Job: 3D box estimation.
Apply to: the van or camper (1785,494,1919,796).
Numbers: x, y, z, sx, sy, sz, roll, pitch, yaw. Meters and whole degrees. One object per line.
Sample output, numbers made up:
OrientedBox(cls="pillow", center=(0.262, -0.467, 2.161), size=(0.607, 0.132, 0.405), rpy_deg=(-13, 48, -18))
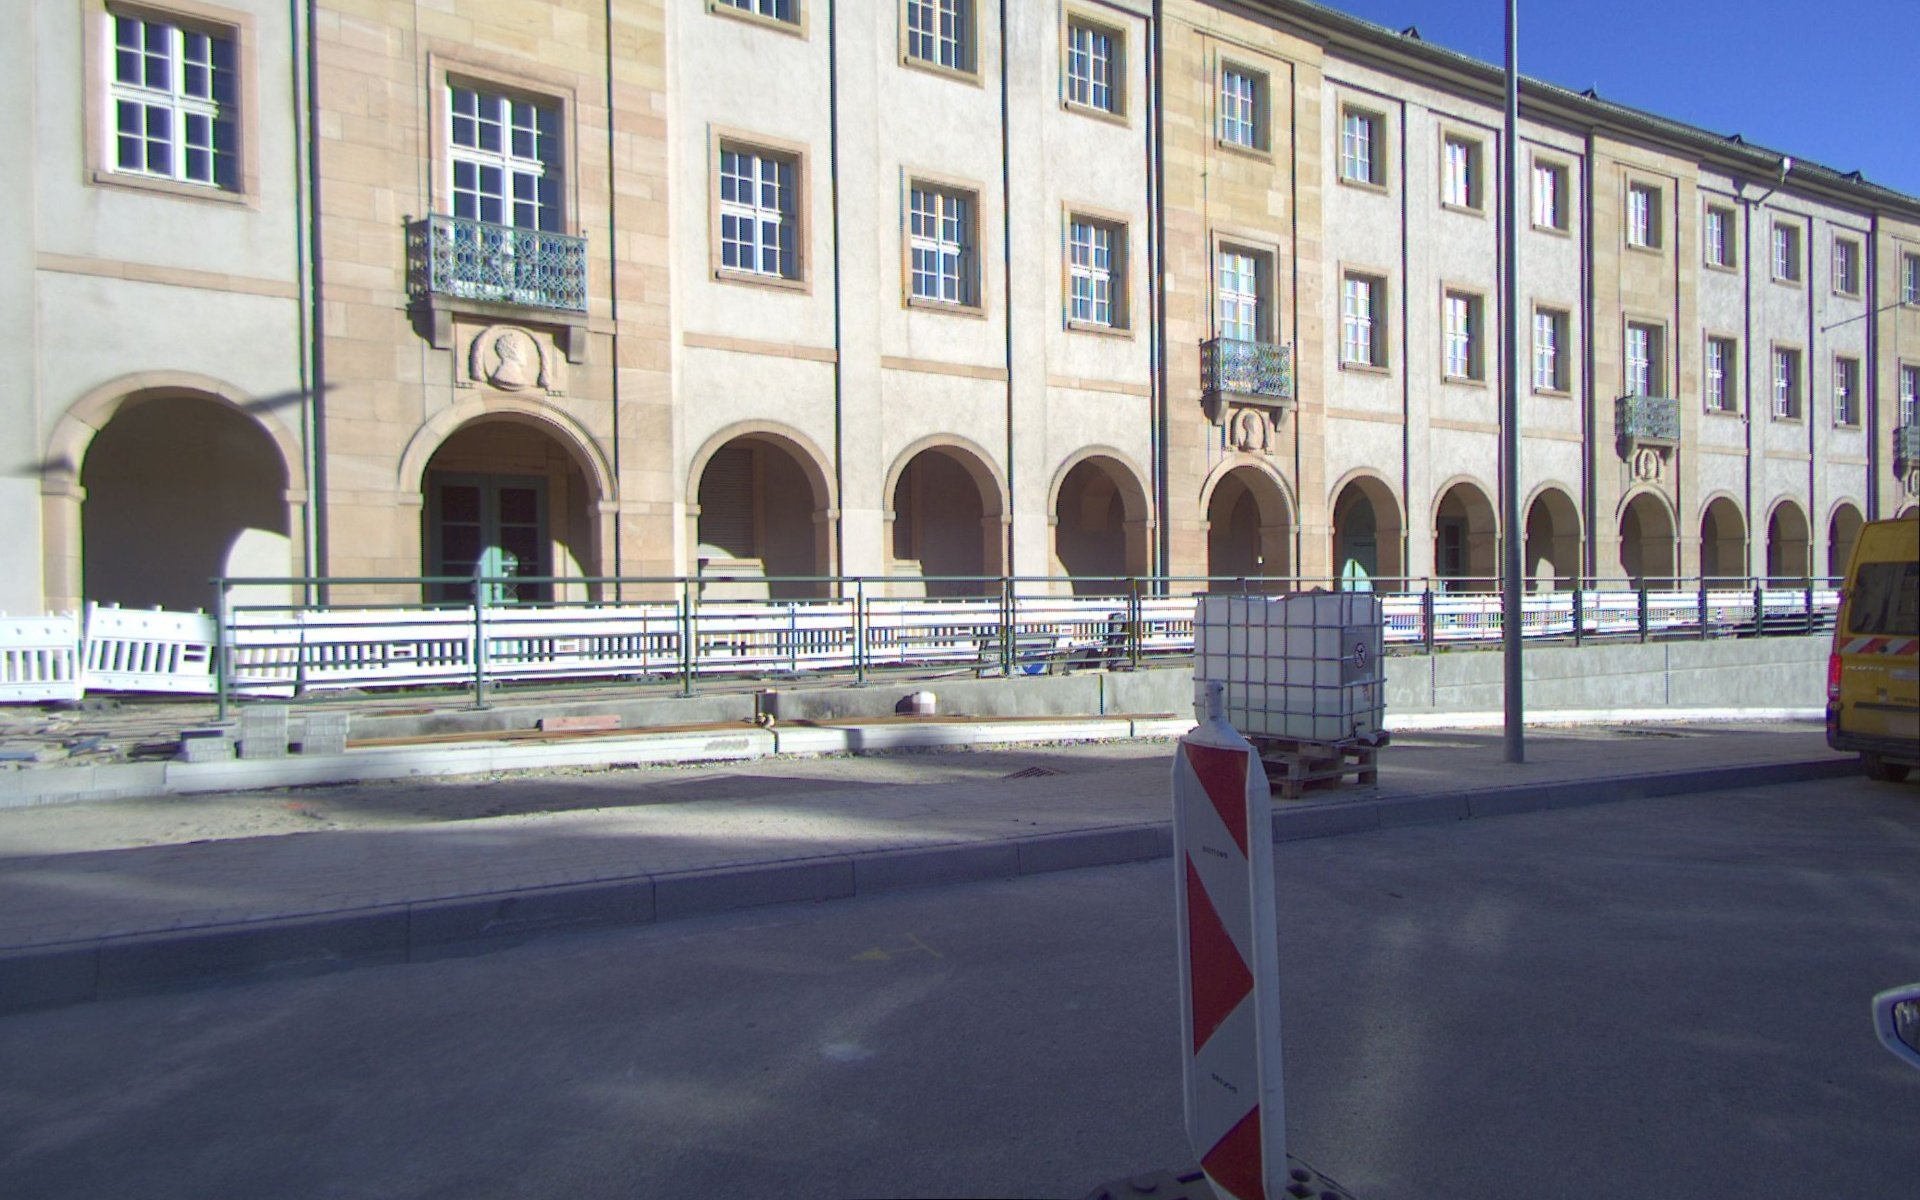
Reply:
OrientedBox(cls="van or camper", center=(11.472, 0.511, 10.219), size=(6.737, 2.647, 2.185), rpy_deg=(2, 1, -27))
